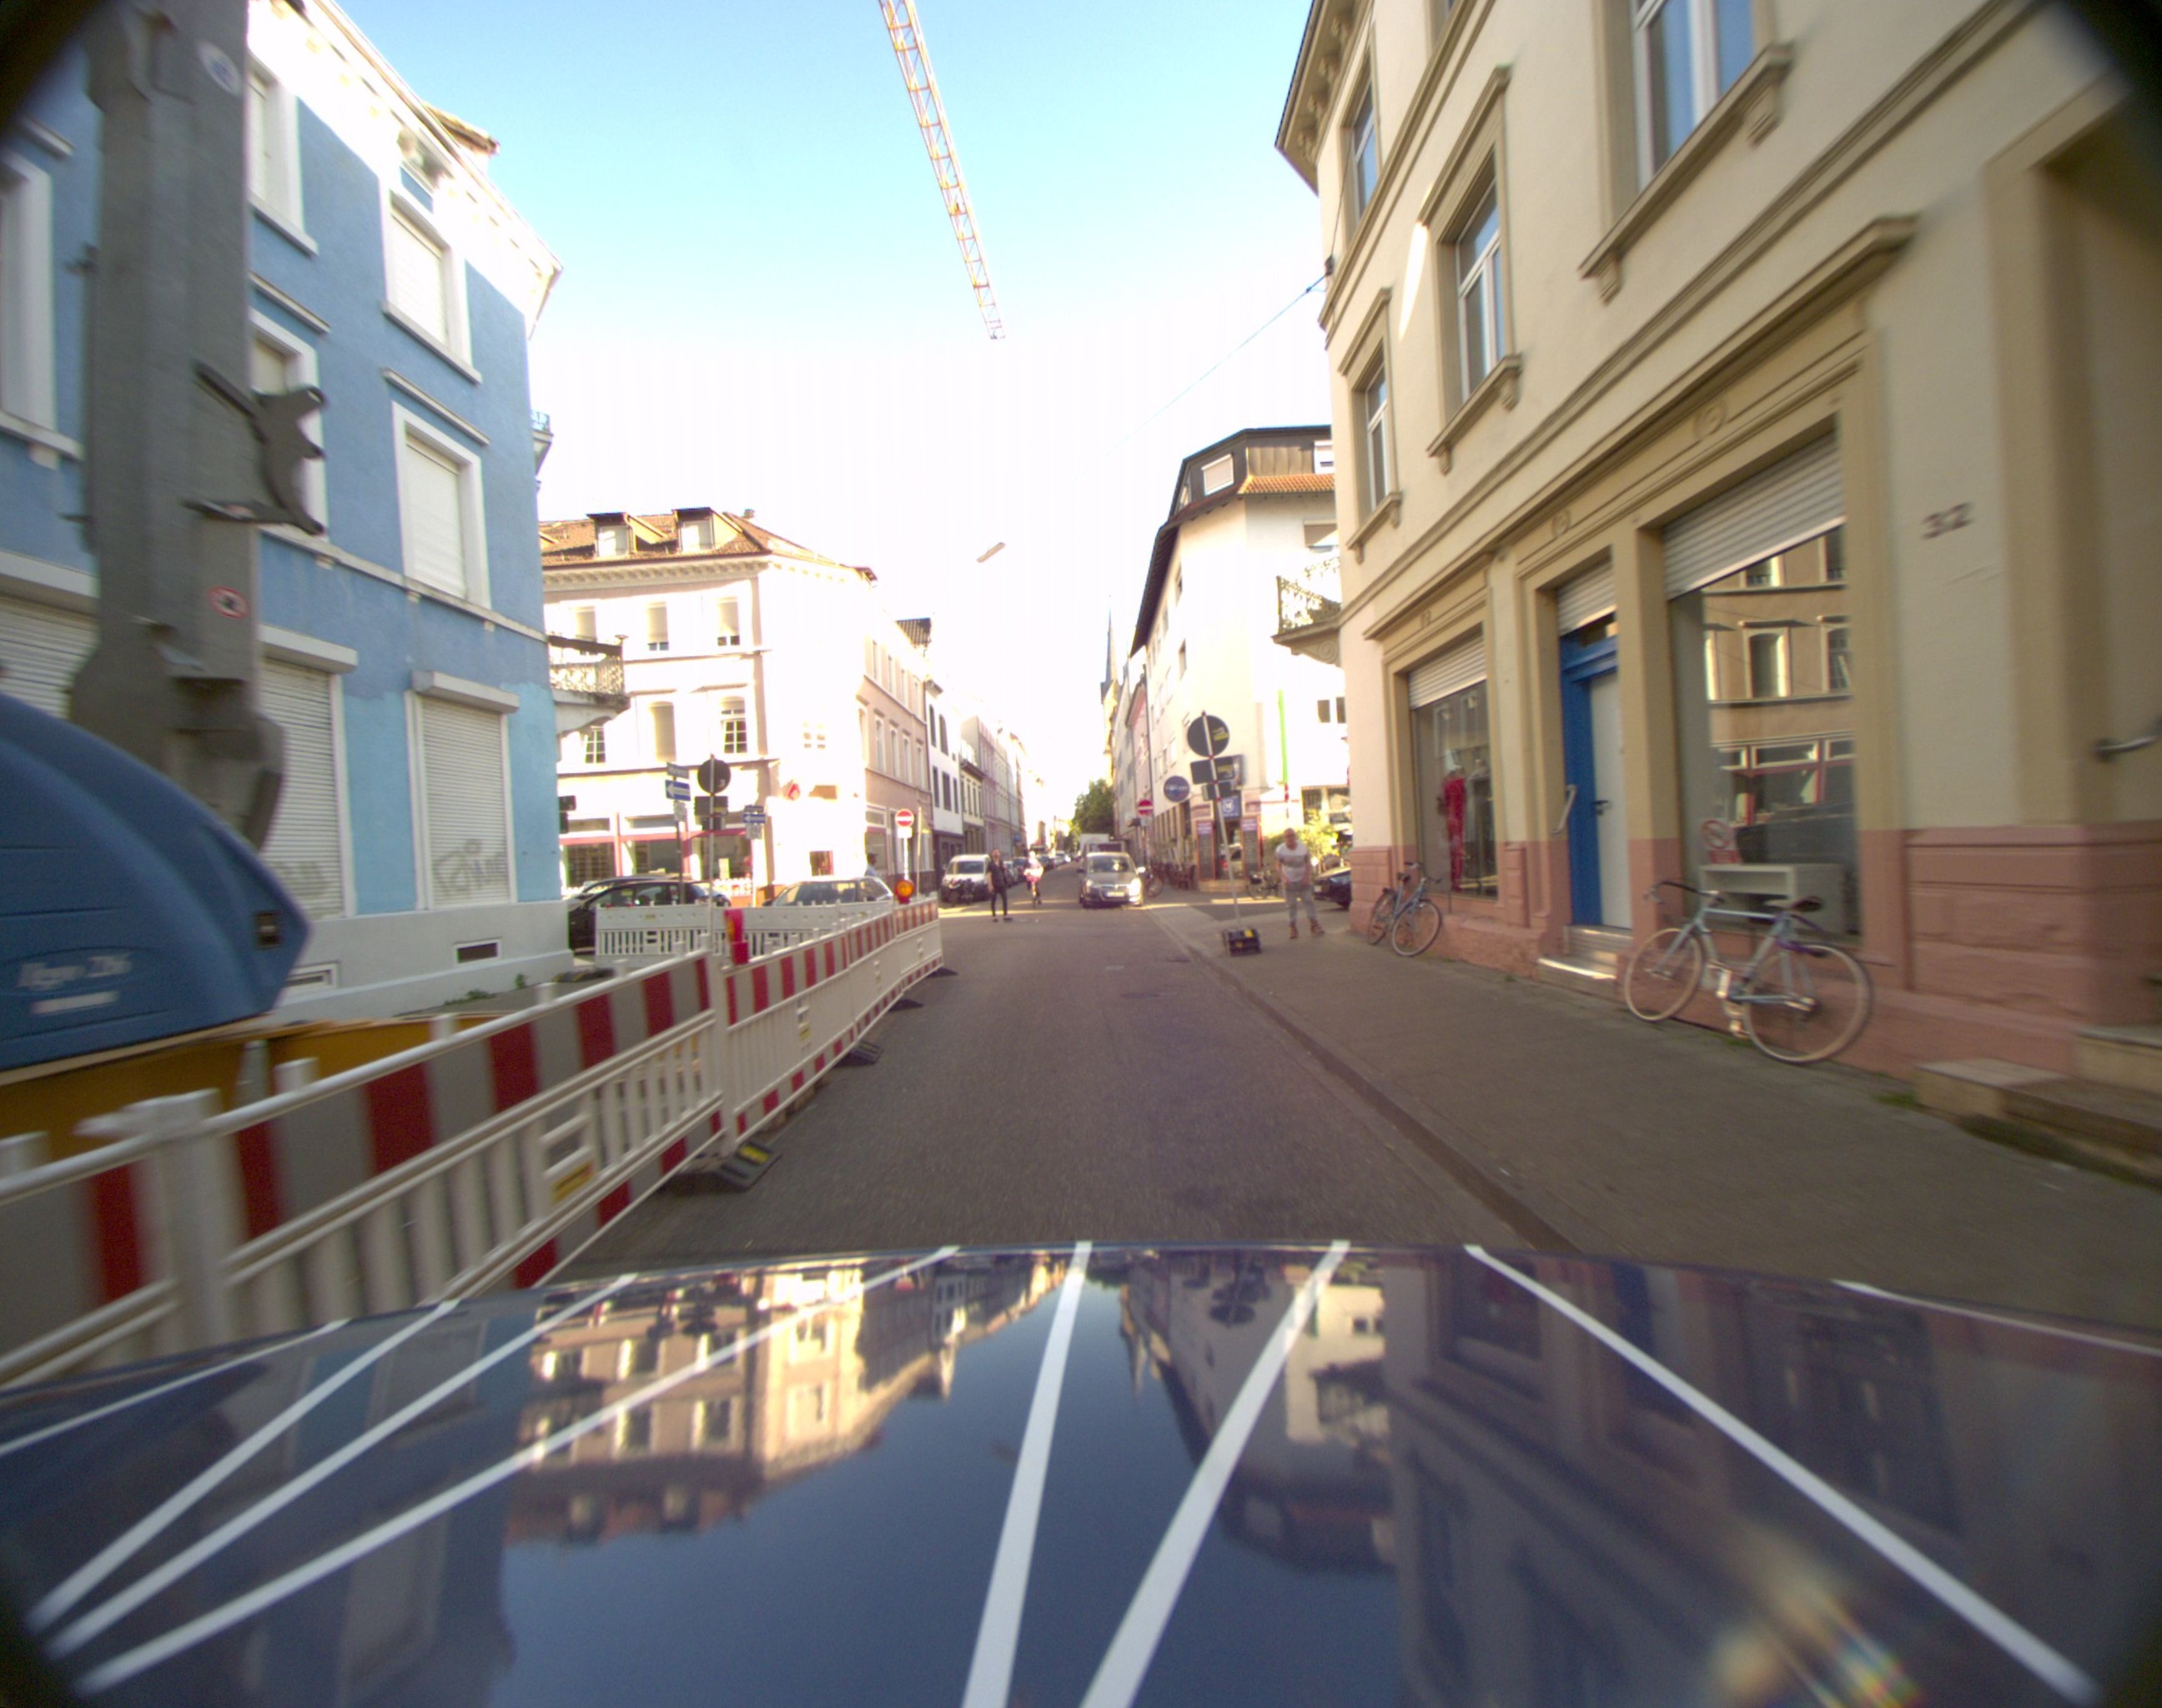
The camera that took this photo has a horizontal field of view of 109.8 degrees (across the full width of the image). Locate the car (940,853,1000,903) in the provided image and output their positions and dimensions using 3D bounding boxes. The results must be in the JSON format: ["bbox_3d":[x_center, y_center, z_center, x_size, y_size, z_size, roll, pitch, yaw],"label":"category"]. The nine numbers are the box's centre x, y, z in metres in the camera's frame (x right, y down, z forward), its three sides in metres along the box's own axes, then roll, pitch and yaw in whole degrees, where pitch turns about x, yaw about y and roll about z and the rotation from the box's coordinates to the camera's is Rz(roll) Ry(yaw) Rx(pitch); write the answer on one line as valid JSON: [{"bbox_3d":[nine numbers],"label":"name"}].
[{"bbox_3d":[-4.424,0.898,30.963,1.753,1.806,4.369,-2,1,0],"label":"car"}]

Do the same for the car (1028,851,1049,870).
[{"bbox_3d":[-4.101,0.585,74.107,1.713,1.721,4.220,-2,1,0],"label":"car"}]

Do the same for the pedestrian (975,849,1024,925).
[{"bbox_3d":[-2.006,0.774,18.604,0.830,1.782,0.987,-1,1,-31],"label":"pedestrian"}]

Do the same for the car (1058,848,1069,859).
[{"bbox_3d":[-3.704,-0.154,159.572,1.999,2.002,4.562,-4,1,-3],"label":"car"}]

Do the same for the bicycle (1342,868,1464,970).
[{"bbox_3d":[3.792,0.719,9.115,0.605,1.016,1.818,-7,0,1],"label":"bicycle"}]

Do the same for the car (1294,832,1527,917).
[{"bbox_3d":[6.942,0.411,16.289,4.150,1.447,1.758,-4,0,-2],"label":"car"}]

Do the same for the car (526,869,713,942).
[{"bbox_3d":[-13.045,1.433,21.679,4.069,1.623,1.855,-4,3,1],"label":"car"}]

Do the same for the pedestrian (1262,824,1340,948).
[{"bbox_3d":[3.260,0.467,11.323,0.695,1.691,0.865,-8,-1,0],"label":"pedestrian"}]

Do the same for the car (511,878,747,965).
[{"bbox_3d":[-9.429,1.390,16.064,3.877,1.445,1.677,-4,0,1],"label":"car"}]

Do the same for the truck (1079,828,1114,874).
[{"bbox_3d":[1.184,-0.251,57.237,2.296,3.165,7.044,-2,1,1],"label":"truck"}]

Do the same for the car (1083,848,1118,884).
[{"bbox_3d":[1.070,0.614,42.917,1.807,1.834,4.243,-2,1,0],"label":"car"}]

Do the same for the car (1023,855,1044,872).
[{"bbox_3d":[-4.254,0.824,68.774,1.613,1.444,3.881,-2,1,0],"label":"car"}]

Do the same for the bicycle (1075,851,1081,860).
[{"bbox_3d":[-0.612,0.270,153.671,1.020,1.641,3.546,-4,1,-4],"label":"bicycle"}]

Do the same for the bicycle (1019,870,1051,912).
[{"bbox_3d":[-1.368,1.094,23.002,0.710,1.105,1.935,-3,1,2],"label":"bicycle"}]

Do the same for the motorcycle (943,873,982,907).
[{"bbox_3d":[-4.257,1.287,27.402,0.720,1.080,1.997,-2,1,11],"label":"motorcycle"}]

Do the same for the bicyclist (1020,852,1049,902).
[{"bbox_3d":[-1.391,0.680,22.969,0.710,1.427,0.790,-3,1,2],"label":"bicyclist"}]

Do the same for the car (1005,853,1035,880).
[{"bbox_3d":[-4.311,0.858,54.485,1.713,1.721,4.407,-2,1,0],"label":"car"}]

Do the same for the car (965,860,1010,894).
[{"bbox_3d":[-4.381,1.067,36.020,1.613,1.400,3.881,-2,1,0],"label":"car"}]

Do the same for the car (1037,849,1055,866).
[{"bbox_3d":[-3.938,0.393,86.171,1.713,1.802,4.220,-2,1,0],"label":"car"}]

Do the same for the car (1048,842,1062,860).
[{"bbox_3d":[-4.260,-0.501,125.139,1.999,2.777,4.562,-4,1,-3],"label":"car"}]

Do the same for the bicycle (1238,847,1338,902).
[{"bbox_3d":[5.777,0.559,21.296,2.481,1.351,0.928,-3,1,1],"label":"bicycle"}]

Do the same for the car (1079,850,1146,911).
[{"bbox_3d":[0.851,0.729,22.870,1.726,1.596,4.166,-2,0,-1],"label":"car"}]

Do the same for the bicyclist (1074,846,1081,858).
[{"bbox_3d":[-0.677,-0.360,153.620,1.020,2.280,1.531,-4,1,-4],"label":"bicyclist"}]

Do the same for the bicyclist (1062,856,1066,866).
[{"bbox_3d":[-3.014,1.190,134.398,0.716,1.650,0.877,-4,1,-2],"label":"bicyclist"}]

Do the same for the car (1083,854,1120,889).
[{"bbox_3d":[0.963,0.815,37.494,1.677,1.488,4.530,-2,1,0],"label":"car"}]

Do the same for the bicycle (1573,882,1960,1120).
[{"bbox_3d":[3.842,0.732,4.514,0.623,1.016,1.818,-4,0,1],"label":"bicycle"}]

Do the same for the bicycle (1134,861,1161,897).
[{"bbox_3d":[2.284,0.842,26.185,0.578,1.132,1.460,-4,1,-5],"label":"bicycle"}]

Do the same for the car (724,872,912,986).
[{"bbox_3d":[-4.325,1.158,13.233,1.776,1.426,4.033,-4,1,0],"label":"car"}]

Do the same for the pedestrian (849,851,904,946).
[{"bbox_3d":[-4.203,0.897,15.655,0.771,1.839,0.780,-4,1,0],"label":"pedestrian"}]

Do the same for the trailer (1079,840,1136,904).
[{"bbox_3d":[0.857,0.569,27.196,1.666,2.049,4.362,-2,1,-2],"label":"trailer"}]

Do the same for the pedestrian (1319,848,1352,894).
[{"bbox_3d":[7.379,0.479,22.054,0.687,1.259,0.660,-4,1,4],"label":"pedestrian"}]

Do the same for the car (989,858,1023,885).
[{"bbox_3d":[-4.540,1.023,46.470,1.620,1.495,3.772,-2,1,0],"label":"car"}]

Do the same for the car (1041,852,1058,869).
[{"bbox_3d":[-3.936,0.781,94.949,1.999,2.002,4.562,-4,1,-2],"label":"car"}]

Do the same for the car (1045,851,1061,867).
[{"bbox_3d":[-4.026,0.661,107.677,1.999,2.002,4.562,-4,1,-3],"label":"car"}]

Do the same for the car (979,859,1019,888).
[{"bbox_3d":[-4.458,1.053,41.861,1.736,1.388,3.881,-2,1,0],"label":"car"}]

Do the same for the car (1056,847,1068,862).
[{"bbox_3d":[-3.775,0.048,151.293,1.999,2.777,4.562,-4,1,-3],"label":"car"}]

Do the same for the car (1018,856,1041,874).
[{"bbox_3d":[-4.246,0.891,62.955,1.613,1.388,3.881,-2,1,0],"label":"car"}]
